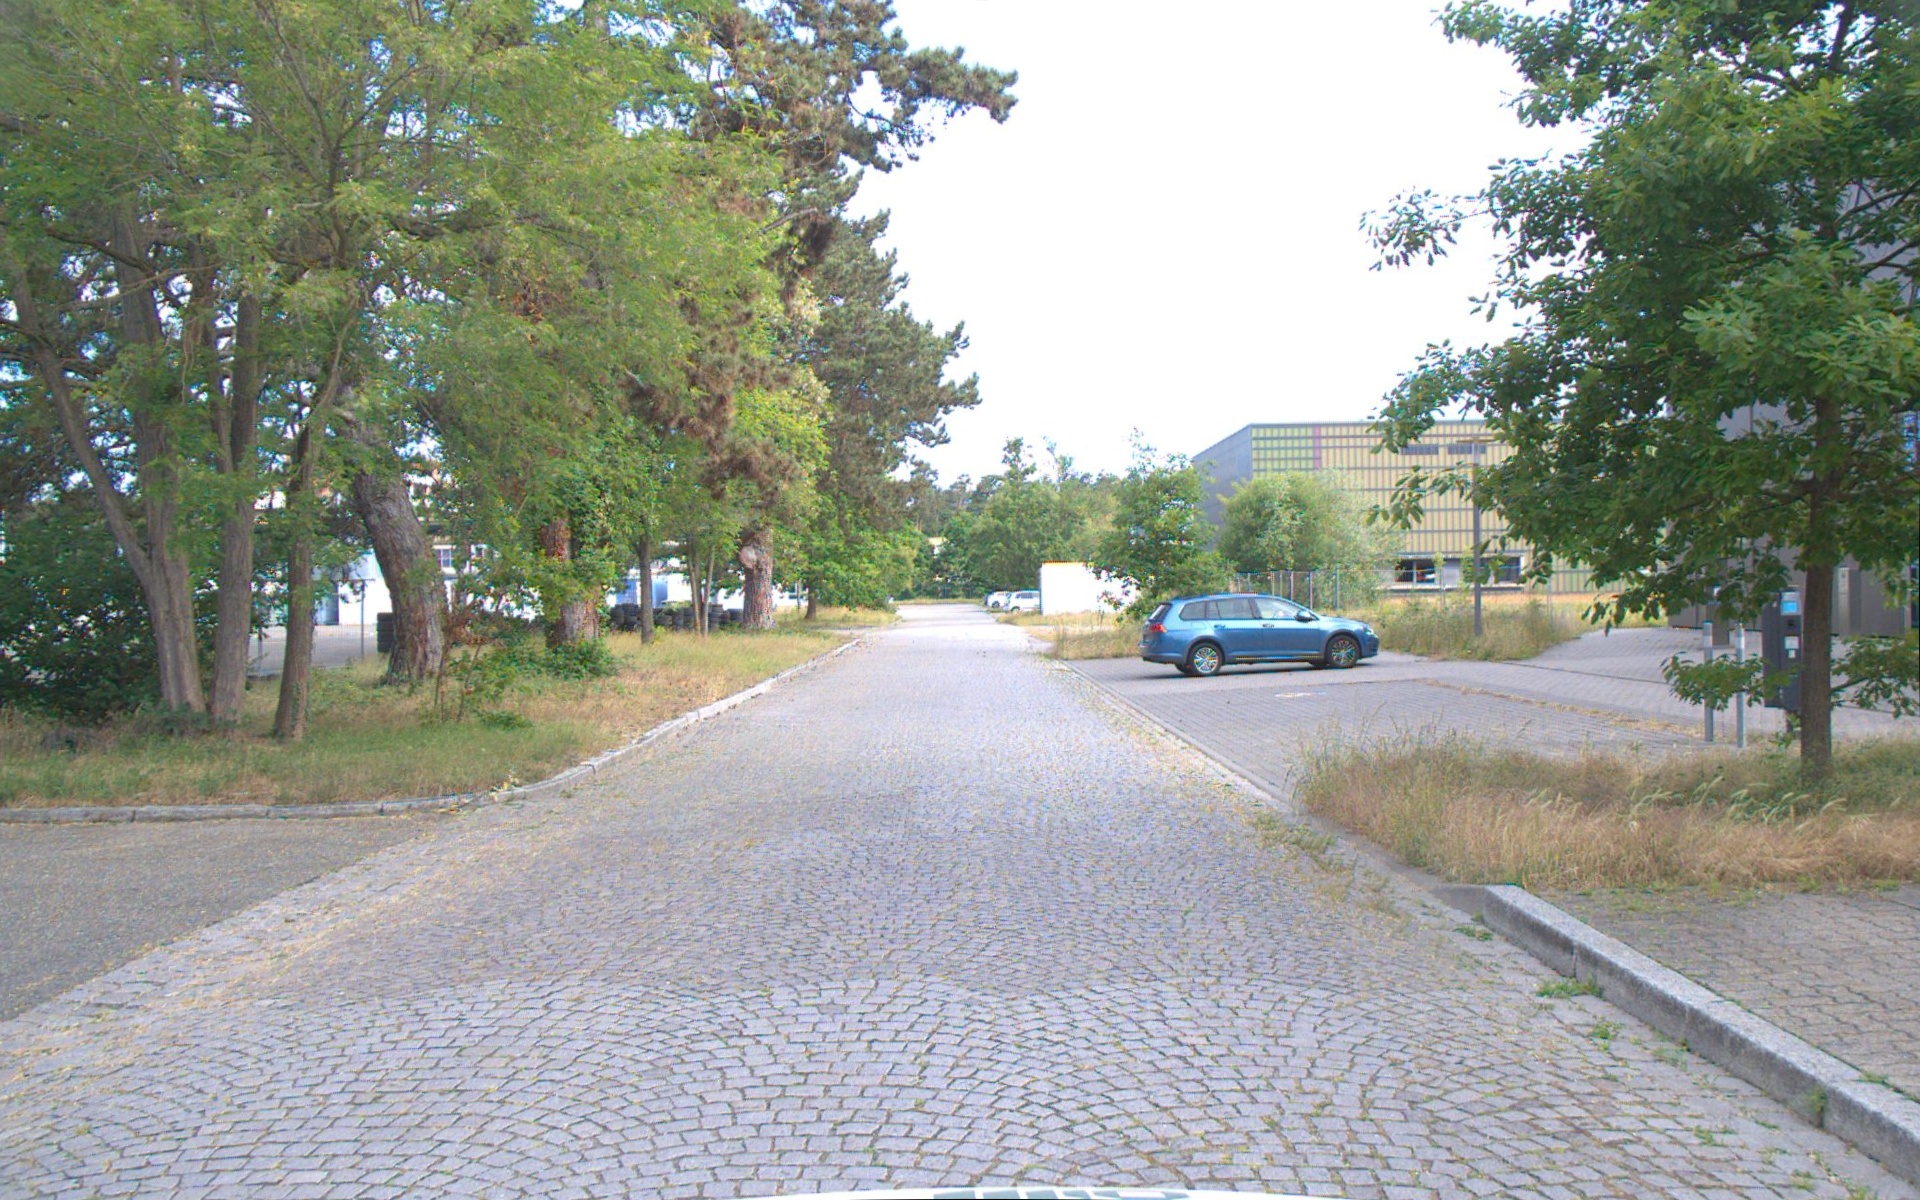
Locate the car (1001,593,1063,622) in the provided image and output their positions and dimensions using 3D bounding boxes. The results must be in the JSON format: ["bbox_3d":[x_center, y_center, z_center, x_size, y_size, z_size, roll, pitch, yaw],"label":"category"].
[{"bbox_3d":[4.532,0.462,104.842,3.773,1.683,1.685,-1,0,-3],"label":"car"}]

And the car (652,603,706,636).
[{"bbox_3d":[-13.540,0.928,79.837,1.729,1.478,3.490,-1,0,5],"label":"car"}]

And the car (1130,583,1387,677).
[{"bbox_3d":[5.593,0.552,31.331,4.433,1.468,1.822,-3,0,-4],"label":"car"}]

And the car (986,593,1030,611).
[{"bbox_3d":[4.342,0.193,150.991,3.942,1.528,1.548,-1,0,0],"label":"car"}]

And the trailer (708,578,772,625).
[{"bbox_3d":[-15.513,0.086,117.265,3.093,3.121,8.785,-1,0,1],"label":"trailer"}]
